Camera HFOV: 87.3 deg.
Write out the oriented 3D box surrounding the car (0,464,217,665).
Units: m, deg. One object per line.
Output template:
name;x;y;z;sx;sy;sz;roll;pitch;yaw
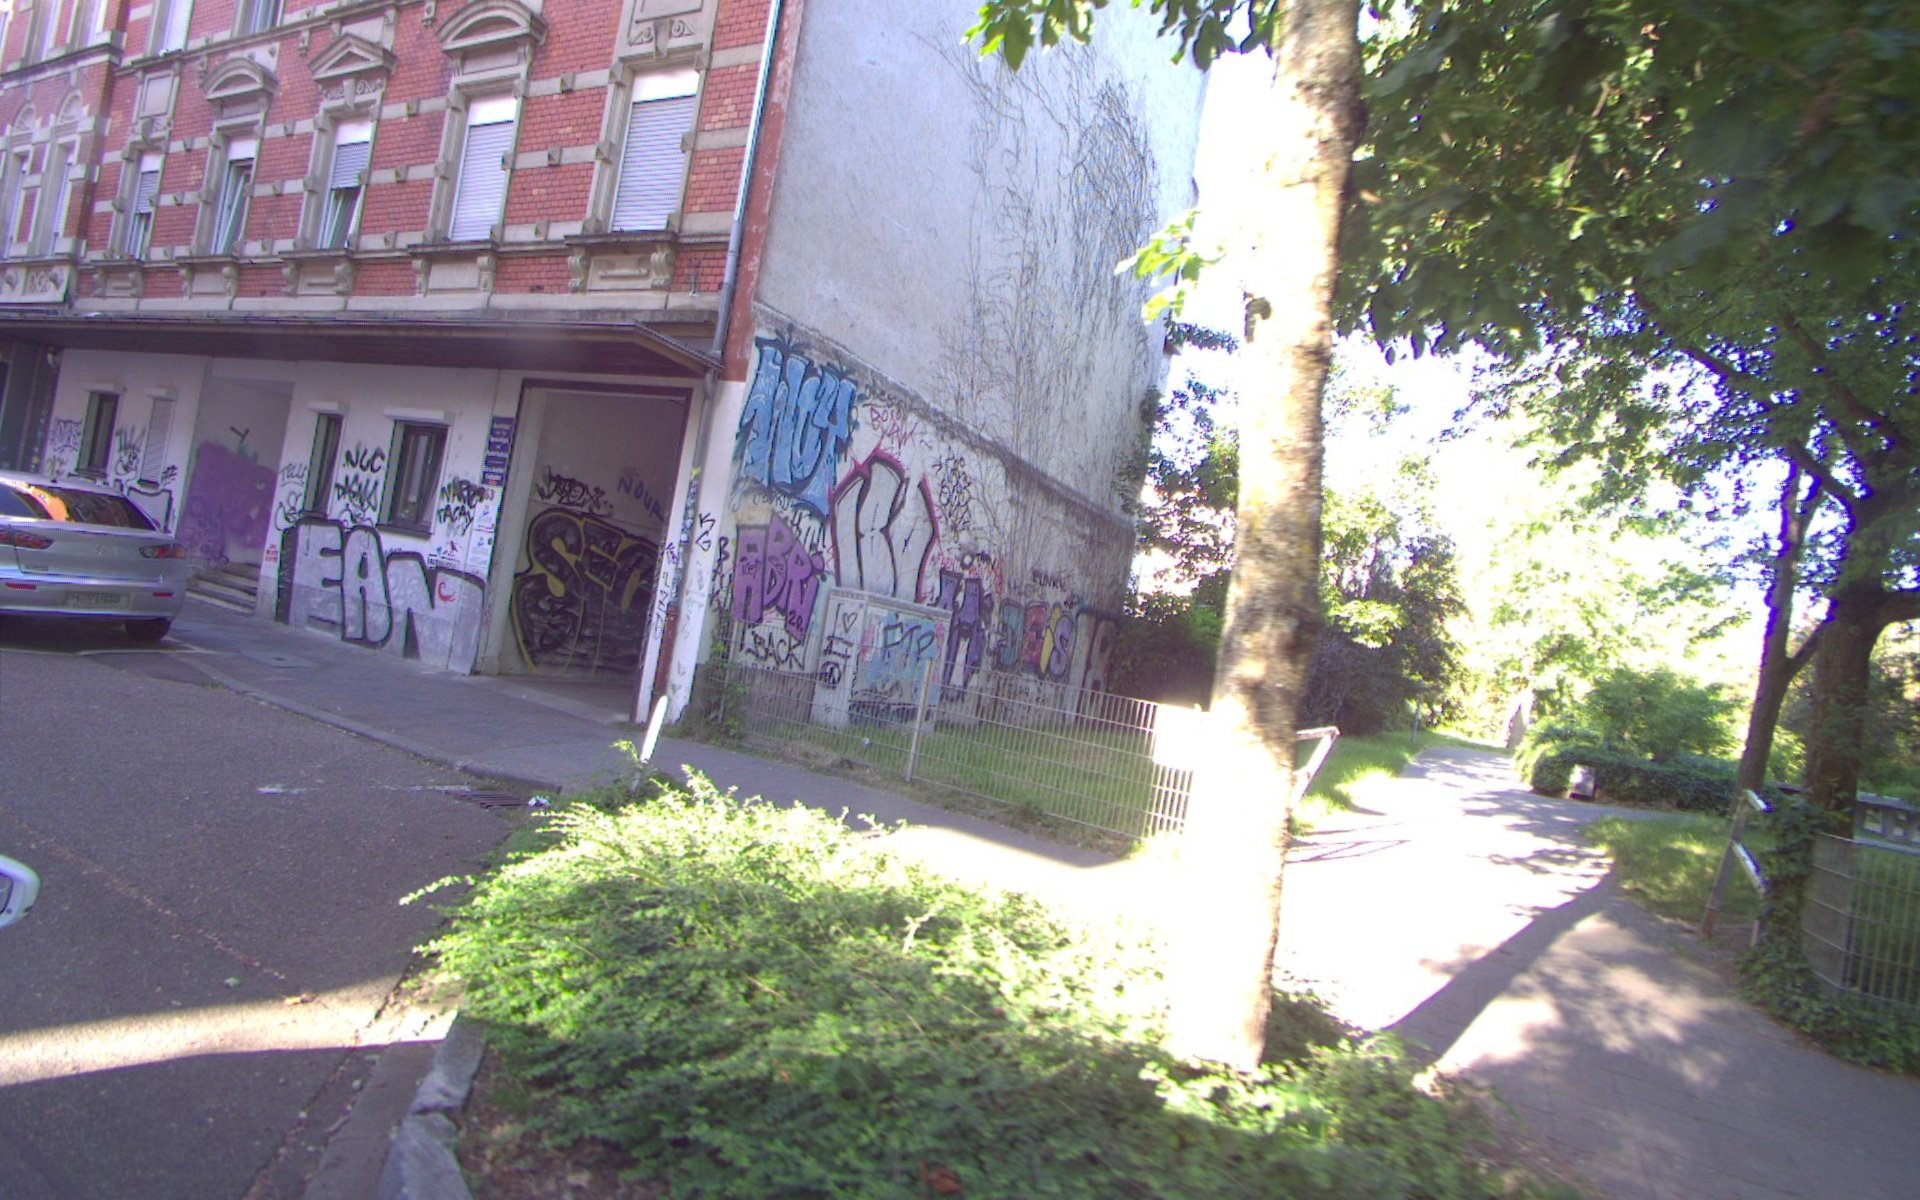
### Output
car;-9.609;-0.550;10.042;4.322;1.579;1.726;9;-1;29
